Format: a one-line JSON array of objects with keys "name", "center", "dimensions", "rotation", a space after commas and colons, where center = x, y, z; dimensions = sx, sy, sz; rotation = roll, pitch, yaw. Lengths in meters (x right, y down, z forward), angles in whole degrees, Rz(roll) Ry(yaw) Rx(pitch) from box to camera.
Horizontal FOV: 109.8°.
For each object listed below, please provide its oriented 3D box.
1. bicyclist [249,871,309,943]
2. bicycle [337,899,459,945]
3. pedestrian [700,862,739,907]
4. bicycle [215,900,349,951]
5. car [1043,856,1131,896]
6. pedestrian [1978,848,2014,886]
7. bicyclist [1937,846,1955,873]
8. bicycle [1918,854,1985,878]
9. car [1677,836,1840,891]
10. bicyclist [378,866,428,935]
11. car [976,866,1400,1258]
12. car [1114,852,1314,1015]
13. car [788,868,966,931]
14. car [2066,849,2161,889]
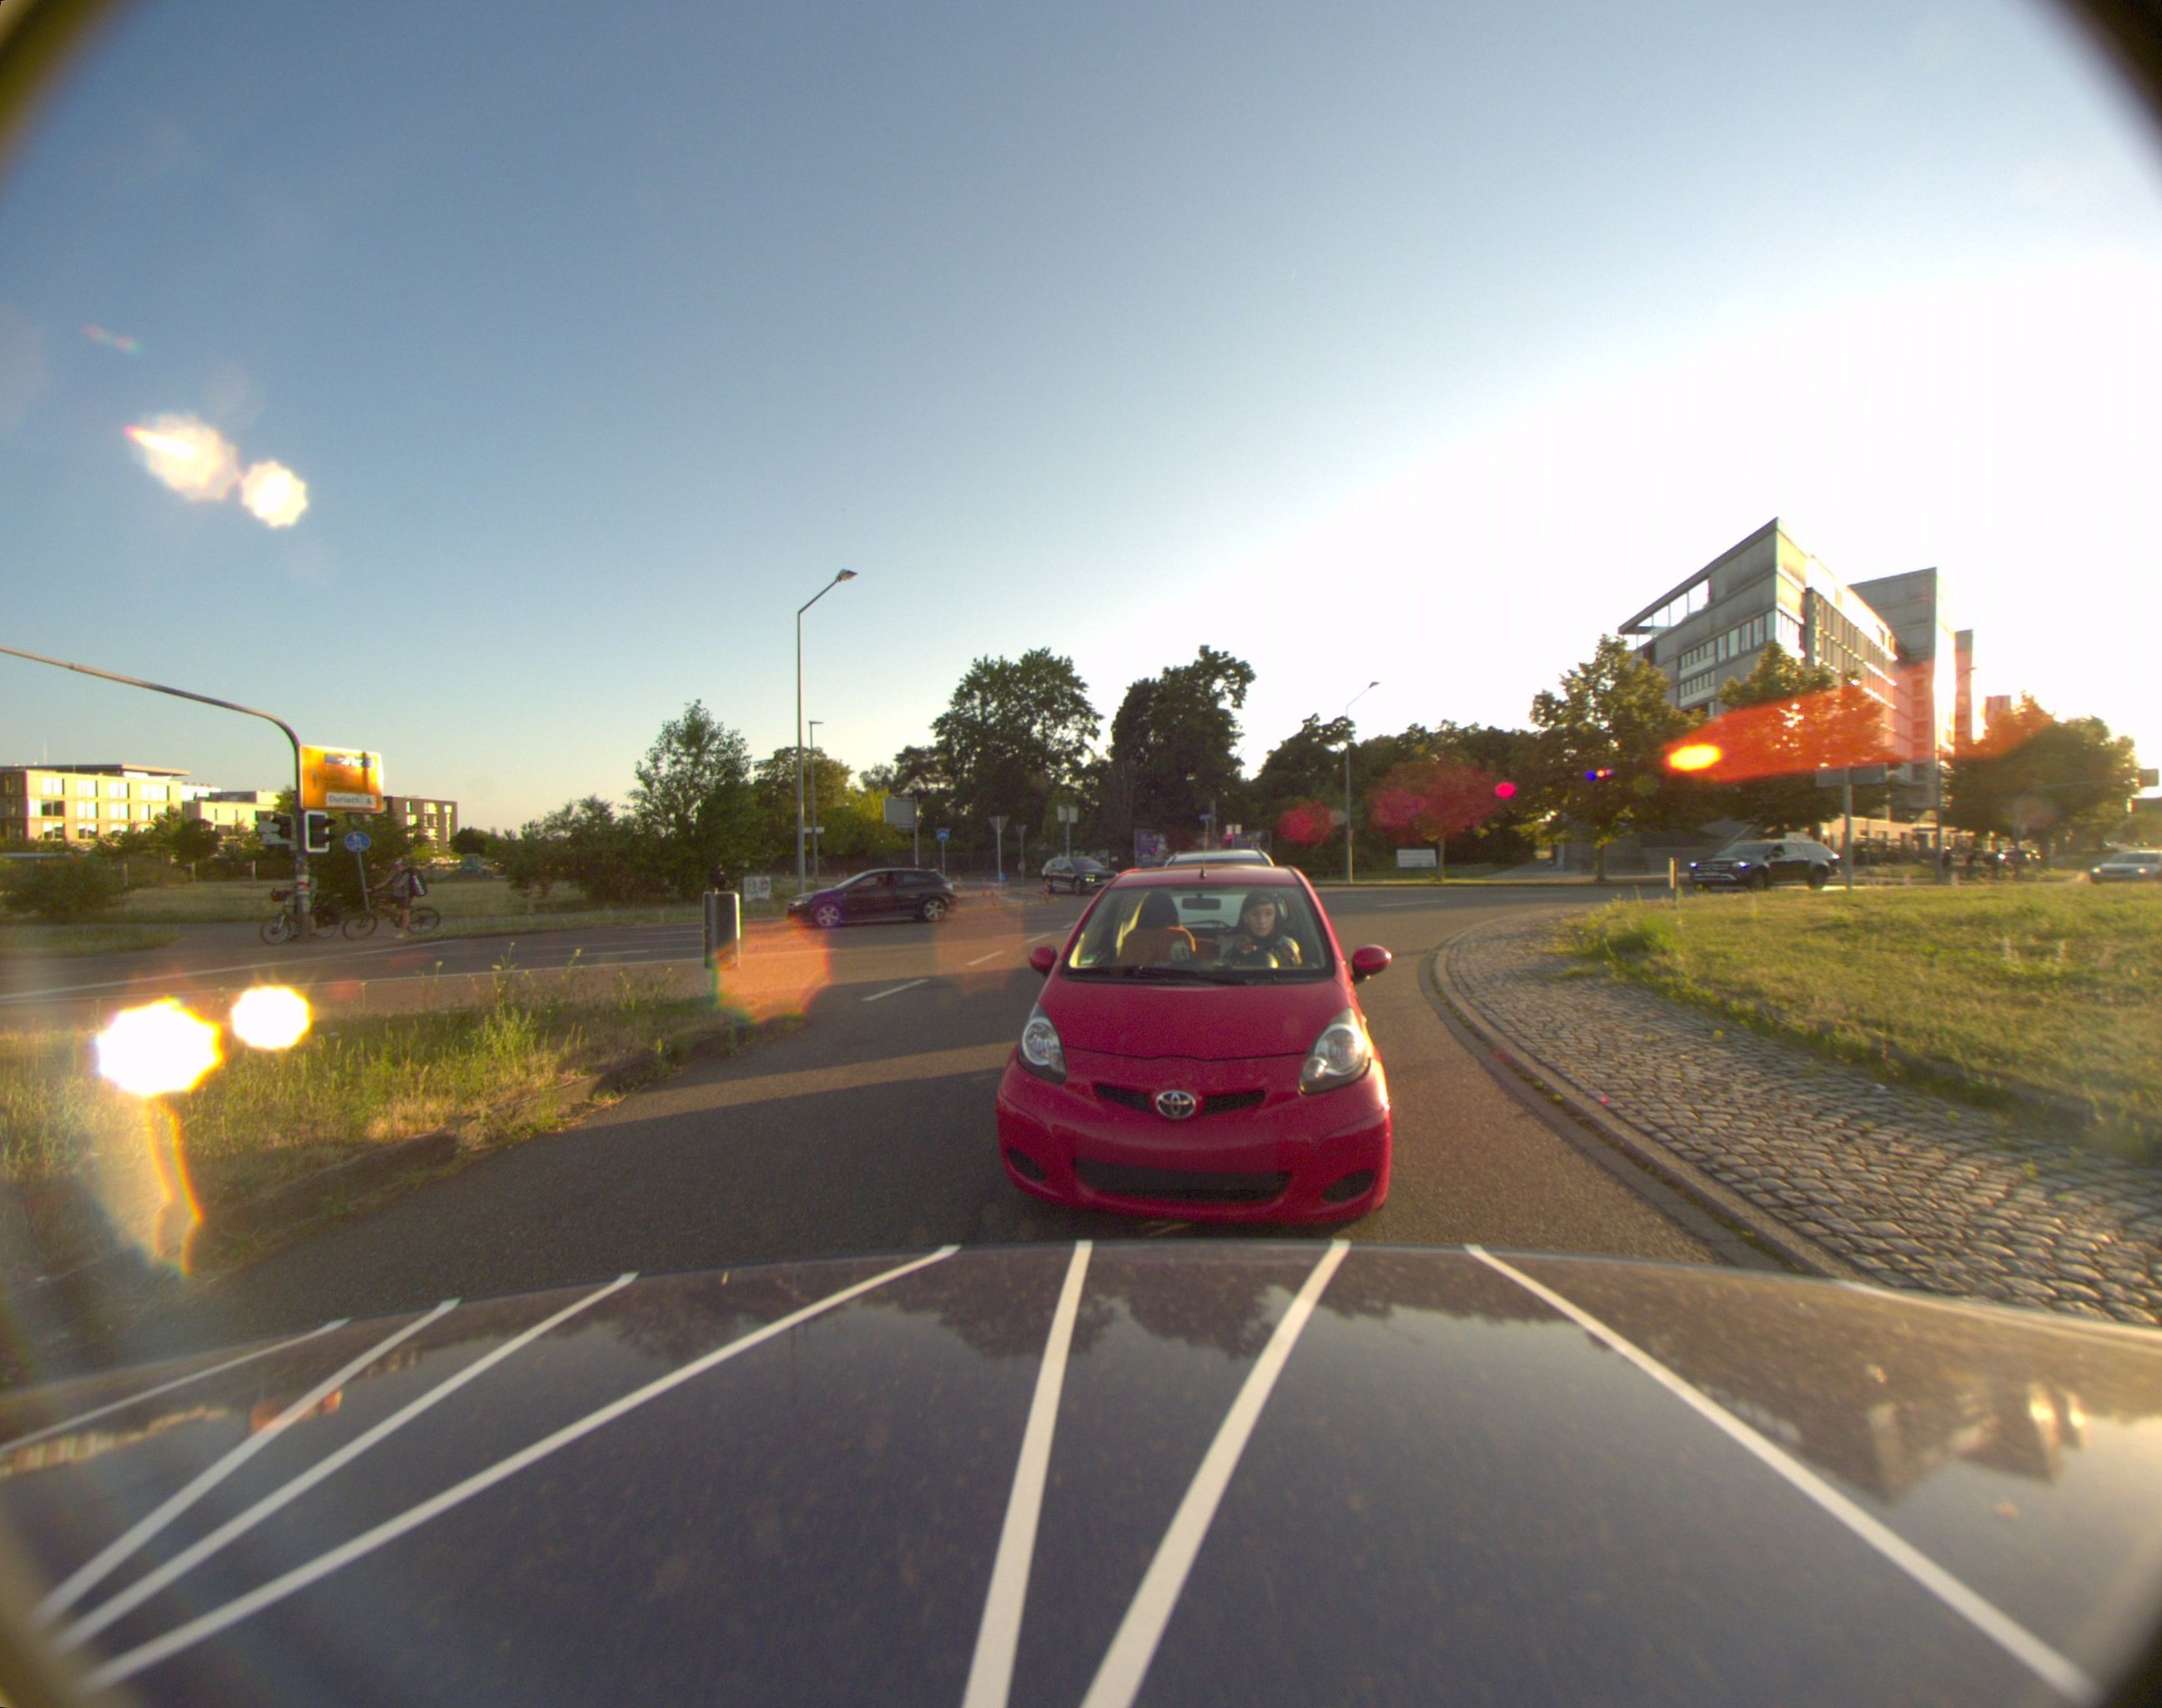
[{"name": "bicyclist", "center": [-19.328, 1.255, 18.318], "dimensions": [0.724, 1.680, 0.690], "rotation": [-1, 1, 12]}, {"name": "bicycle", "center": [-17.159, 1.678, 19.165], "dimensions": [0.708, 0.957, 2.149], "rotation": [-1, 0, 26]}, {"name": "pedestrian", "center": [-13.229, 1.101, 27.807], "dimensions": [0.994, 1.581, 0.924], "rotation": [-2, 1, -44]}, {"name": "bicycle", "center": [-19.270, 1.696, 18.405], "dimensions": [0.708, 0.958, 2.109], "rotation": [-1, 2, 14]}, {"name": "car", "center": [0.180, 0.892, 33.276], "dimensions": [2.003, 1.588, 4.304], "rotation": [-1, 0, -28]}, {"name": "pedestrian", "center": [49.260, 0.678, 40.918], "dimensions": [0.776, 2.002, 0.998], "rotation": [-2, 1, -11]}, {"name": "bicyclist", "center": [46.976, 0.308, 41.272], "dimensions": [0.693, 1.432, 0.610], "rotation": [-2, 1, -42]}, {"name": "bicycle", "center": [47.089, 0.627, 41.130], "dimensions": [0.744, 1.237, 2.341], "rotation": [-2, 1, -41]}, {"name": "car", "center": [23.967, 0.320, 26.878], "dimensions": [5.311, 1.802, 1.997], "rotation": [0, -1, -20]}, {"name": "bicyclist", "center": [-17.143, 1.163, 19.226], "dimensions": [0.723, 1.680, 0.690], "rotation": [-1, 1, 28]}, {"name": "car", "center": [0.841, 0.838, 5.029], "dimensions": [1.687, 1.412, 4.004], "rotation": [-1, 0, 13]}, {"name": "car", "center": [1.870, 0.796, 9.799], "dimensions": [1.996, 1.597, 4.203], "rotation": [-1, 0, 15]}, {"name": "car", "center": [-5.245, 1.103, 19.580], "dimensions": [4.131, 1.371, 1.747], "rotation": [-1, 0, -26]}, {"name": "car", "center": [44.087, 0.593, 31.399], "dimensions": [4.565, 1.550, 1.833], "rotation": [-1, 1, -2]}]
